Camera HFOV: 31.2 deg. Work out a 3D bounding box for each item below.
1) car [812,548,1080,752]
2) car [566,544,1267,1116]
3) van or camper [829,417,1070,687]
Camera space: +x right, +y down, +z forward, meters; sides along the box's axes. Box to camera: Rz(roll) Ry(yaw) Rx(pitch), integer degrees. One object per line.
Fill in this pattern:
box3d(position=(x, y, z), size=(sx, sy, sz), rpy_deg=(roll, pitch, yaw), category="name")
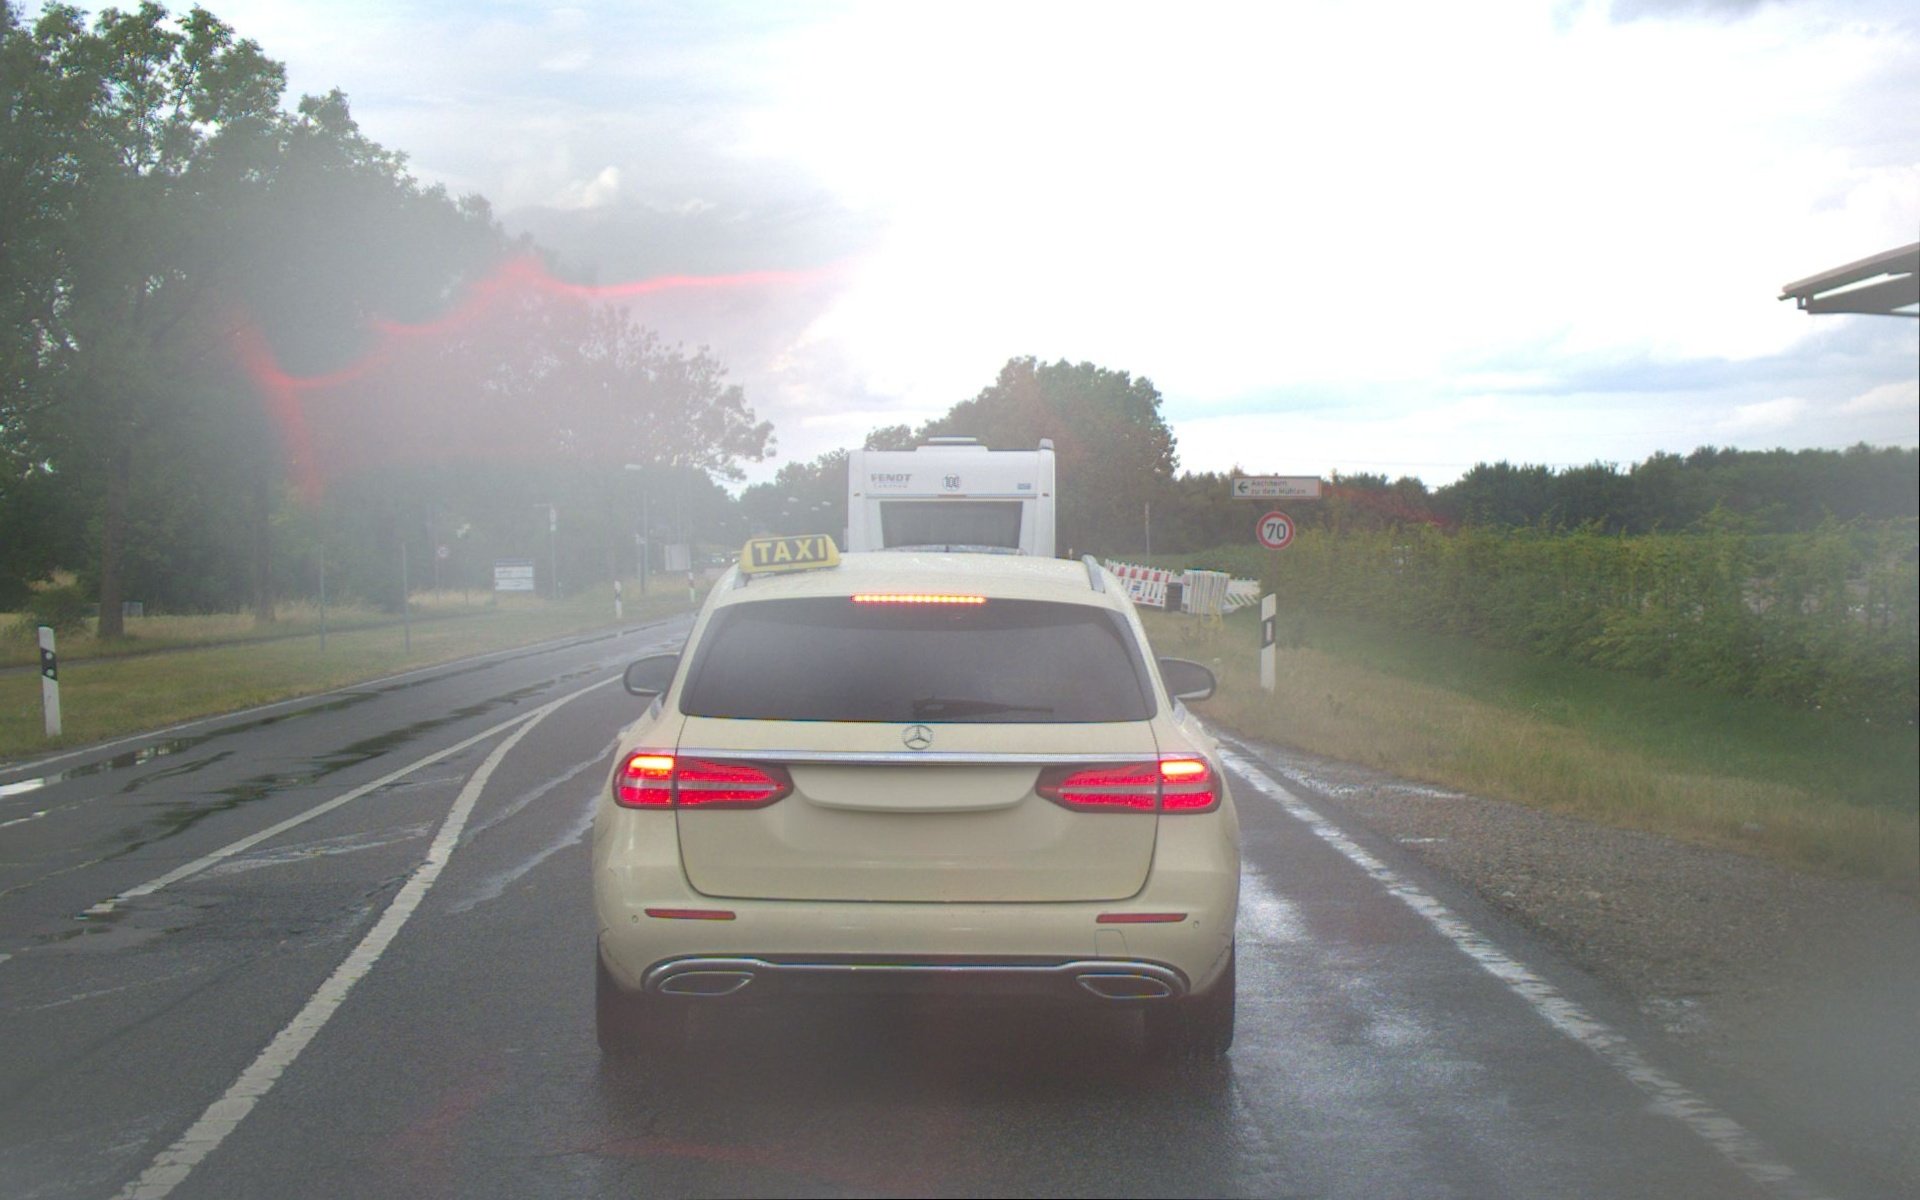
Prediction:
box3d(position=(-0.124, 0.325, 26.249), size=(1.894, 1.424, 3.928), rpy_deg=(0, 1, -1), category="car")
box3d(position=(-0.104, 0.560, 10.852), size=(1.797, 1.459, 4.031), rpy_deg=(0, 1, 0), category="car")
box3d(position=(-0.080, -0.560, 40.016), size=(2.497, 2.821, 5.934), rpy_deg=(-2, 1, 1), category="van or camper")
